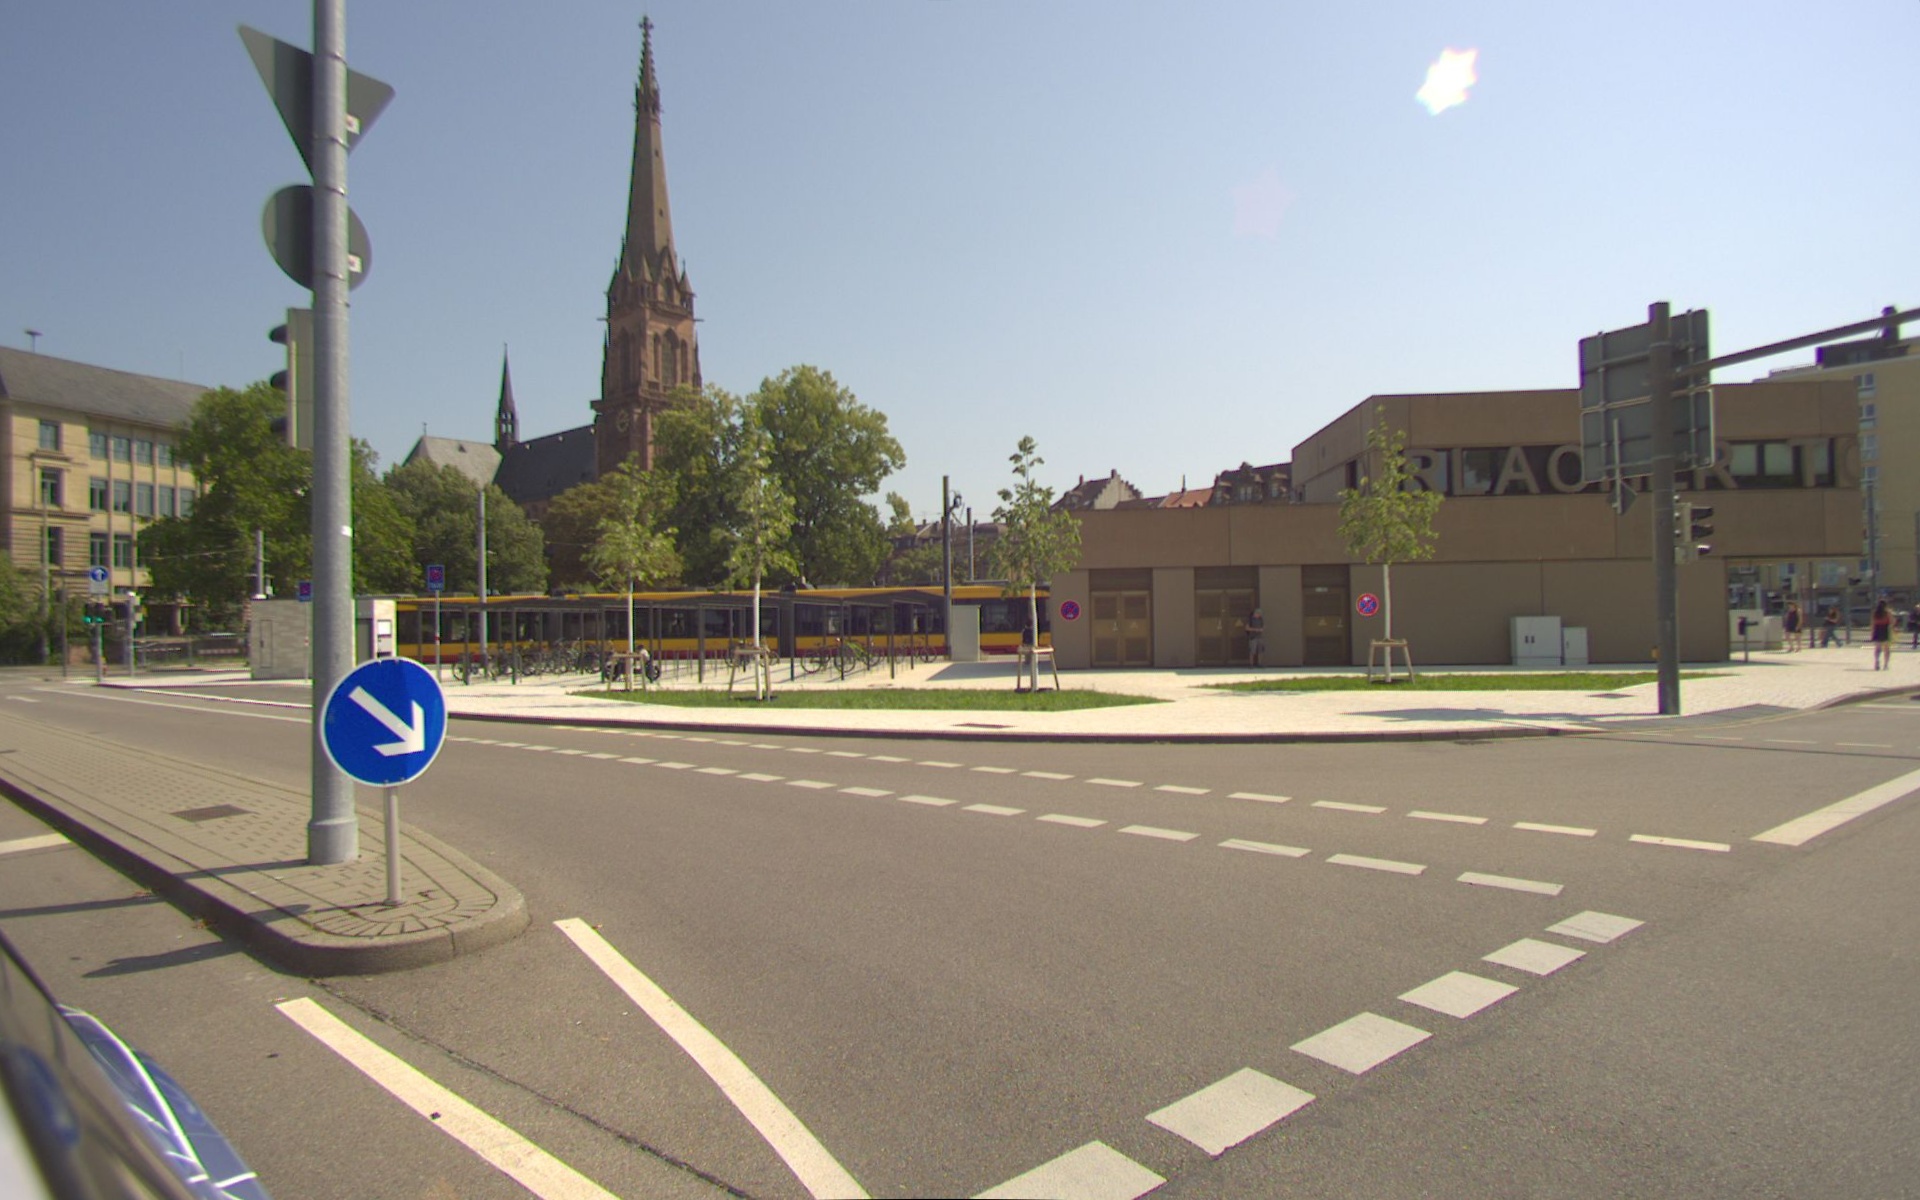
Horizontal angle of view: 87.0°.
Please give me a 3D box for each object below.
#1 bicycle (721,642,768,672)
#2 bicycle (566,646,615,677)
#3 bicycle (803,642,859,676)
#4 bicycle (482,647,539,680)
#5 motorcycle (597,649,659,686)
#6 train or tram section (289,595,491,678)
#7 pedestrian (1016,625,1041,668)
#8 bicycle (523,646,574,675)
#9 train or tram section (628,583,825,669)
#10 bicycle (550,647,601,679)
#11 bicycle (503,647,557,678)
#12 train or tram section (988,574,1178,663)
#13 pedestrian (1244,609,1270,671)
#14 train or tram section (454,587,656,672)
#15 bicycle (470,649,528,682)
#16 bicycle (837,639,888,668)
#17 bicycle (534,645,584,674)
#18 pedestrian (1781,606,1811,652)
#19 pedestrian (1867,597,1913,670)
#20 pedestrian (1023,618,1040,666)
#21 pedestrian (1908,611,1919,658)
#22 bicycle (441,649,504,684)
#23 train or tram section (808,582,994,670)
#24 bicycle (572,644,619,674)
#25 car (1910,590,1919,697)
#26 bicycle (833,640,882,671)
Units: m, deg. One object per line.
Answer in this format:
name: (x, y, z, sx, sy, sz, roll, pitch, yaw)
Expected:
bicycle: (-7.820, 2.051, 36.701, 1.621, 1.048, 0.412, -2, -2, 7)
bicycle: (-13.032, 2.176, 35.721, 1.621, 1.048, 0.412, -2, -2, 7)
bicycle: (-4.149, 1.899, 32.607, 1.709, 1.048, 0.513, -1, -2, -2)
bicycle: (-15.272, 2.159, 34.414, 1.749, 1.048, 0.526, -2, -2, 7)
motorcycle: (-10.069, 2.039, 30.726, 1.758, 1.077, 0.490, -2, -2, 8)
train or tram section: (-27.497, 1.776, 48.985, 8.222, 3.588, 3.133, -2, -3, 5)
pedestrian: (2.319, 1.566, 34.237, 0.667, 1.421, 0.438, -3, -2, 39)
bicycle: (-15.257, 2.238, 37.526, 1.749, 1.048, 0.526, -2, -2, 7)
train or tram section: (-10.841, 1.262, 47.511, 8.418, 3.625, 3.157, -2, -3, 5)
bicycle: (-13.188, 2.153, 34.697, 1.621, 1.048, 0.412, -2, -2, 7)
bicycle: (-15.327, 2.214, 36.063, 1.749, 1.048, 0.526, -2, -2, 7)
train or tram section: (5.472, 0.907, 46.083, 8.139, 3.597, 3.140, -2, -3, 5)
pedestrian: (8.137, 1.091, 27.755, 0.529, 1.691, 0.568, -1, -2, 4)
train or tram section: (-19.215, 1.428, 48.263, 8.418, 3.625, 3.157, -2, -3, 5)
bicycle: (-15.371, 2.168, 33.716, 1.749, 1.048, 0.526, -2, -2, 7)
bicycle: (-3.631, 1.987, 37.661, 1.832, 0.993, 0.513, -2, -2, 4)
bicycle: (-15.289, 2.258, 38.566, 1.749, 1.048, 0.526, -2, -2, 7)
pedestrian: (28.475, 0.983, 34.490, 0.564, 1.550, 0.491, -1, -1, 4)
pedestrian: (22.322, 0.799, 24.289, 0.774, 1.715, 0.629, 0, -1, -35)
pedestrian: (2.533, 1.481, 36.058, 0.561, 1.691, 0.443, -2, -2, 4)
pedestrian: (35.525, 1.249, 37.268, 0.795, 1.715, 0.648, 0, -2, -31)
bicycle: (-15.655, 2.137, 32.524, 1.843, 1.090, 0.526, -2, -2, 7)
train or tram section: (-2.614, 1.232, 46.776, 8.141, 3.625, 3.157, -2, -3, 5)
bicycle: (-13.376, 2.171, 37.156, 1.621, 1.048, 0.412, -2, -2, 7)
car: (18.966, 0.693, 17.976, 4.261, 1.874, 2.005, 0, -4, -33)
bicycle: (-3.654, 1.958, 36.036, 1.707, 1.048, 0.514, -1, -2, -8)
